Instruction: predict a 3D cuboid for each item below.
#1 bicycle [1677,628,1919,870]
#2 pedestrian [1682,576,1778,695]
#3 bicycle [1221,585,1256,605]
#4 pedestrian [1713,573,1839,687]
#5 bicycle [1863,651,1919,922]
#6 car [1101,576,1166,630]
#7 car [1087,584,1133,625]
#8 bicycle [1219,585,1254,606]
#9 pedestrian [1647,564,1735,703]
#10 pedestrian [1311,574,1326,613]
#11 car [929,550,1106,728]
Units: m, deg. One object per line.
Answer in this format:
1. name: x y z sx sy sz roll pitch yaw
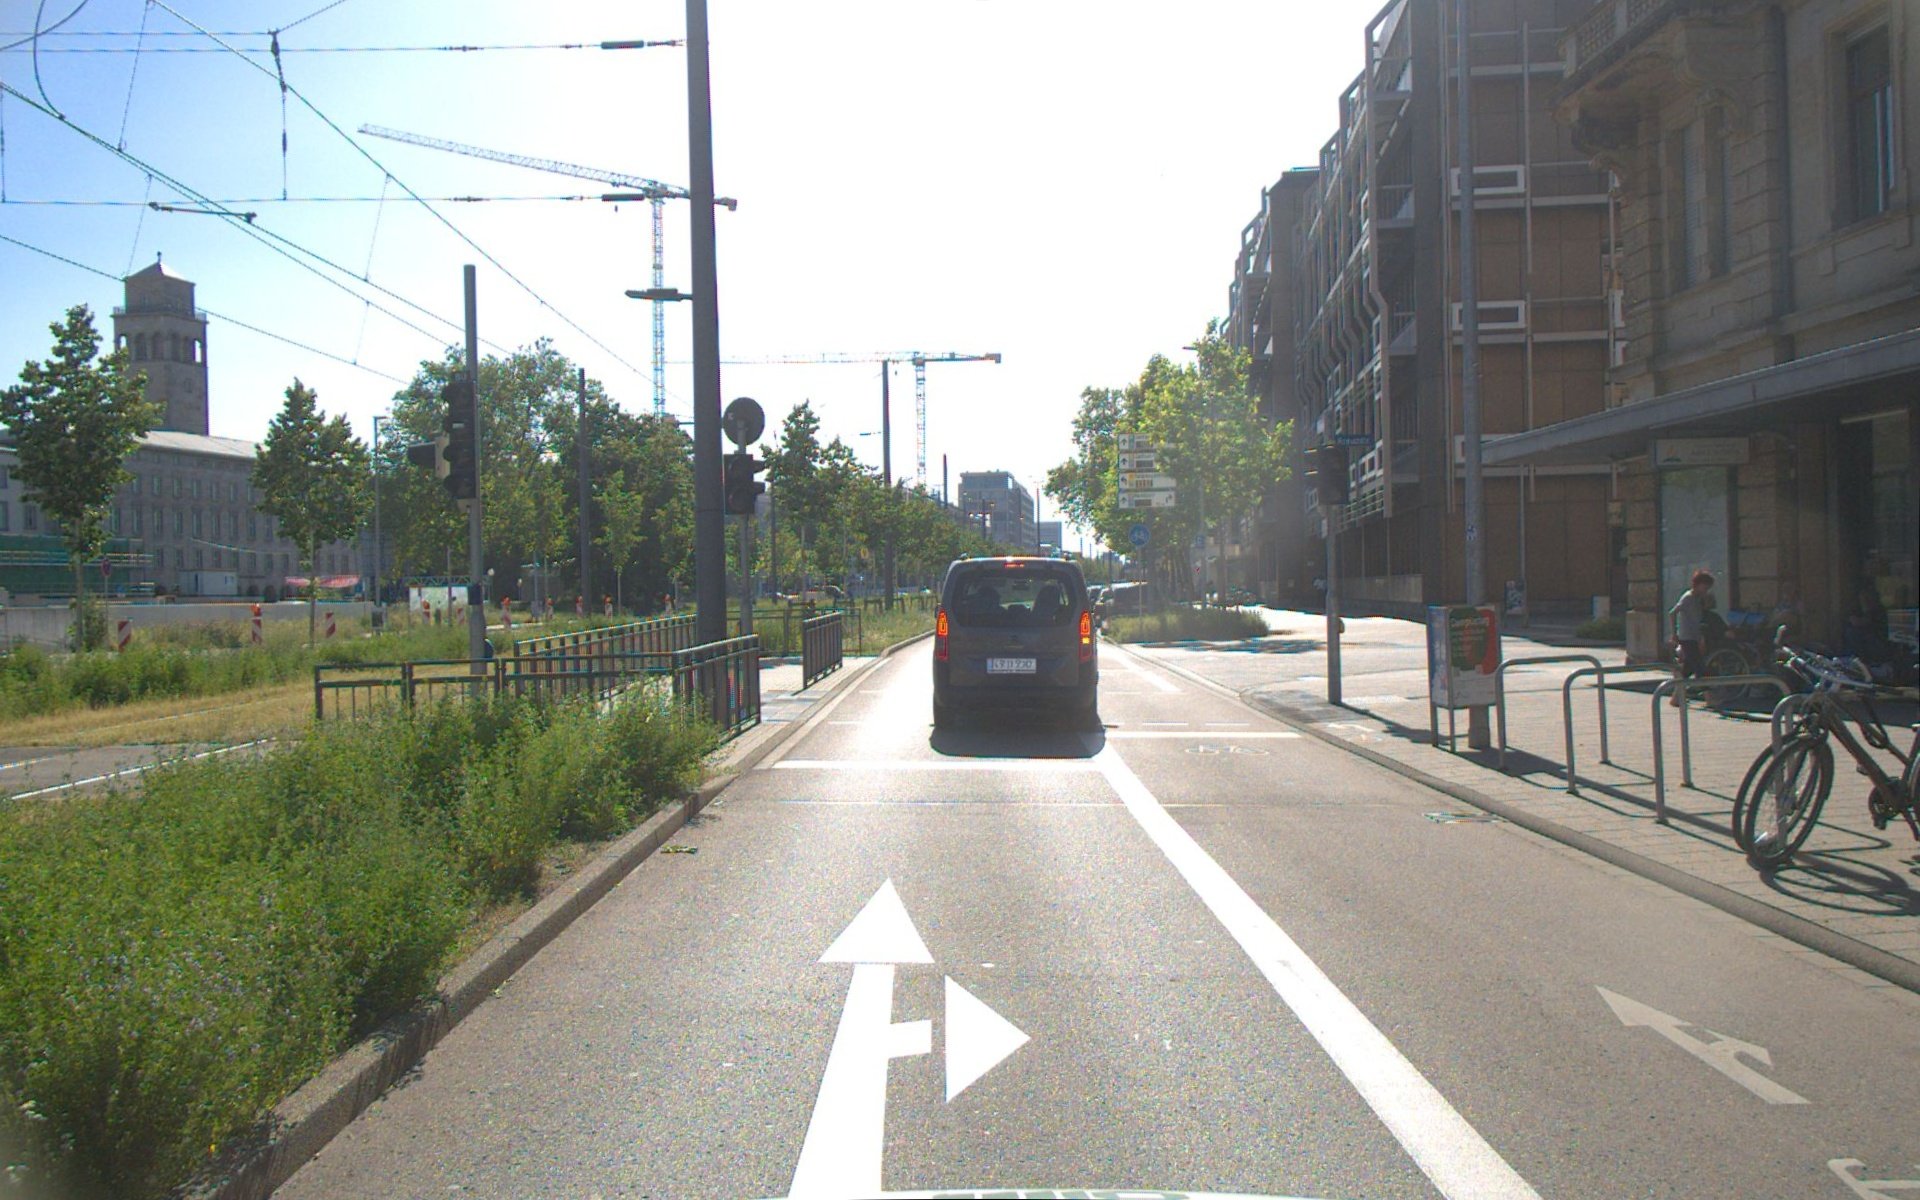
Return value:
1. bicycle: 4.904 0.735 8.642 2.008 1.139 0.603 -3 0 -2
2. pedestrian: 8.392 0.385 18.050 0.701 1.239 0.647 -3 0 4
3. bicycle: 15.192 -0.281 90.297 1.818 0.955 0.427 -3 0 8
4. pedestrian: 9.467 0.339 19.220 1.050 1.239 0.702 -3 0 -2
5. bicycle: 4.867 0.752 7.134 1.632 1.129 0.601 -4 0 -9
6. car: 5.647 0.083 54.308 1.711 1.688 4.470 -1 0 1
7. car: 6.001 0.160 66.464 1.584 1.490 4.157 -3 0 3
8. bicycle: 15.297 -0.263 91.468 1.818 1.028 0.427 -3 0 8
9. pedestrian: 7.773 0.348 17.602 0.561 1.418 0.648 -3 0 -2
10. pedestrian: 15.286 -0.277 70.534 0.500 1.651 0.674 -3 0 7
11. car: 0.718 0.387 18.965 1.774 1.783 4.169 -1 0 4
